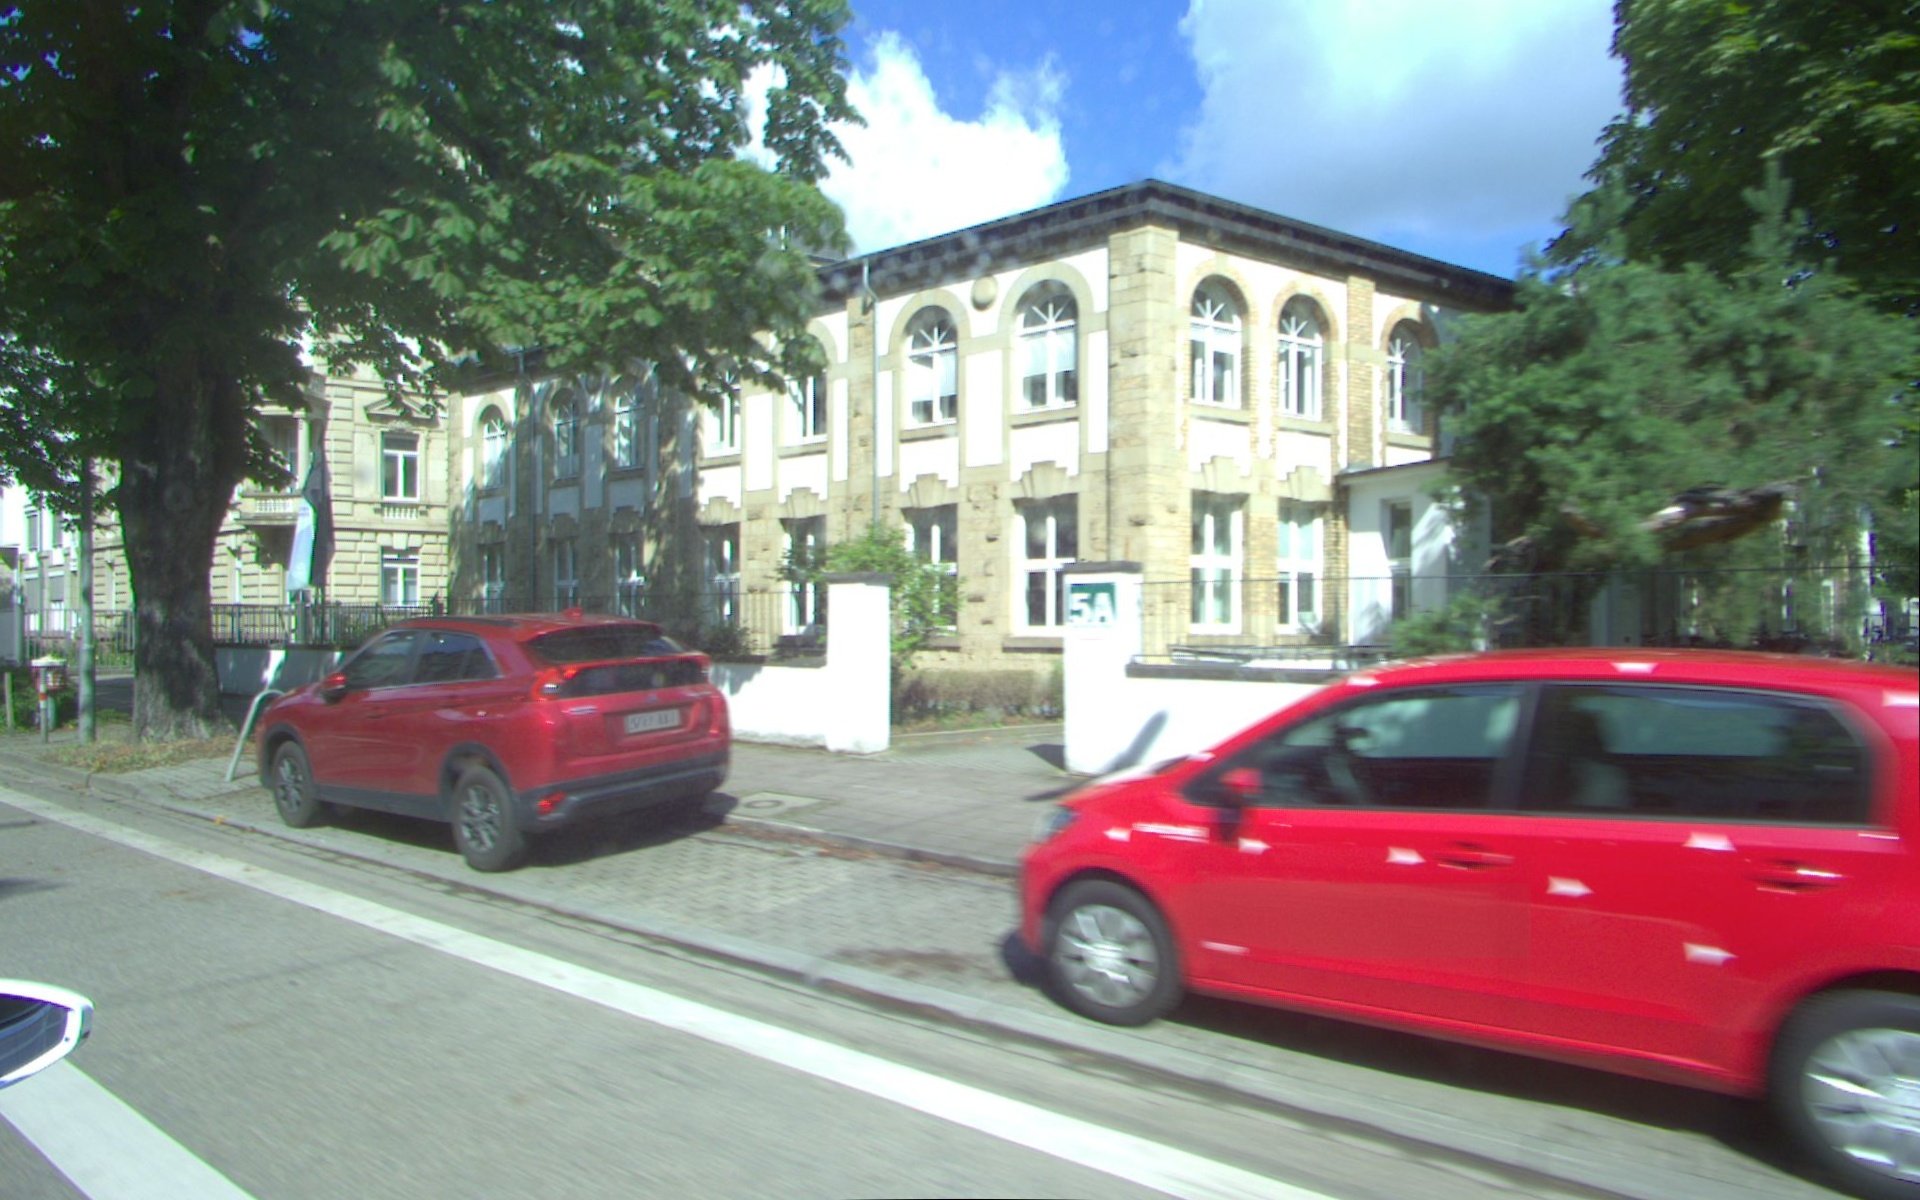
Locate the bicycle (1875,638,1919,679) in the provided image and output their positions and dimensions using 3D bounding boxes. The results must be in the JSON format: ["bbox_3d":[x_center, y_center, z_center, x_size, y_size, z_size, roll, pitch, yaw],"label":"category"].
[{"bbox_3d":[24.131,1.496,25.292,0.421,1.000,1.451,2,-1,-29],"label":"bicycle"}]

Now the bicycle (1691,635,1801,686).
[{"bbox_3d":[16.748,1.275,21.381,0.421,1.000,1.811,2,-1,-29],"label":"bicycle"}]

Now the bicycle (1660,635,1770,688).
[{"bbox_3d":[15.752,1.268,20.952,0.421,1.000,1.811,2,-1,-29],"label":"bicycle"}]

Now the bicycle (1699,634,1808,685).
[{"bbox_3d":[17.169,1.272,21.717,0.421,1.000,1.811,2,-1,-29],"label":"bicycle"}]

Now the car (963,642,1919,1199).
[{"bbox_3d":[1.924,0.924,3.961,3.547,1.447,1.596,-1,0,34],"label":"car"}]

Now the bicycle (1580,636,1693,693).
[{"bbox_3d":[13.059,1.230,19.395,0.421,1.000,1.811,2,-1,-29],"label":"bicycle"}]

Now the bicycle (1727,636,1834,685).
[{"bbox_3d":[18.403,1.346,22.505,0.421,1.000,1.811,2,-1,-29],"label":"bicycle"}]

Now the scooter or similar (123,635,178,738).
[{"bbox_3d":[-10.671,1.109,13.219,0.337,1.254,1.252,-3,2,-31],"label":"scooter or similar"}]

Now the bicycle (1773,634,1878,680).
[{"bbox_3d":[20.316,1.326,23.546,0.421,1.000,1.811,2,-1,-29],"label":"bicycle"}]

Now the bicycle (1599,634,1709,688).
[{"bbox_3d":[13.974,1.219,20.224,0.421,1.000,1.811,2,-1,-29],"label":"bicycle"}]

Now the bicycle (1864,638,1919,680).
[{"bbox_3d":[23.619,1.469,25.040,0.421,1.000,1.451,2,-1,-27],"label":"bicycle"}]

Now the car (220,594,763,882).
[{"bbox_3d":[-3.756,0.841,7.842,4.221,1.698,1.872,-1,0,32],"label":"car"}]

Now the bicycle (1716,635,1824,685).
[{"bbox_3d":[17.812,1.299,22.073,0.421,1.000,1.811,2,-1,-29],"label":"bicycle"}]

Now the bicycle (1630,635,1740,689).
[{"bbox_3d":[14.760,1.242,20.441,0.421,1.000,1.811,2,-1,-29],"label":"bicycle"}]

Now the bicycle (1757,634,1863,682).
[{"bbox_3d":[19.502,1.320,23.009,0.421,1.000,1.811,2,-1,-29],"label":"bicycle"}]
